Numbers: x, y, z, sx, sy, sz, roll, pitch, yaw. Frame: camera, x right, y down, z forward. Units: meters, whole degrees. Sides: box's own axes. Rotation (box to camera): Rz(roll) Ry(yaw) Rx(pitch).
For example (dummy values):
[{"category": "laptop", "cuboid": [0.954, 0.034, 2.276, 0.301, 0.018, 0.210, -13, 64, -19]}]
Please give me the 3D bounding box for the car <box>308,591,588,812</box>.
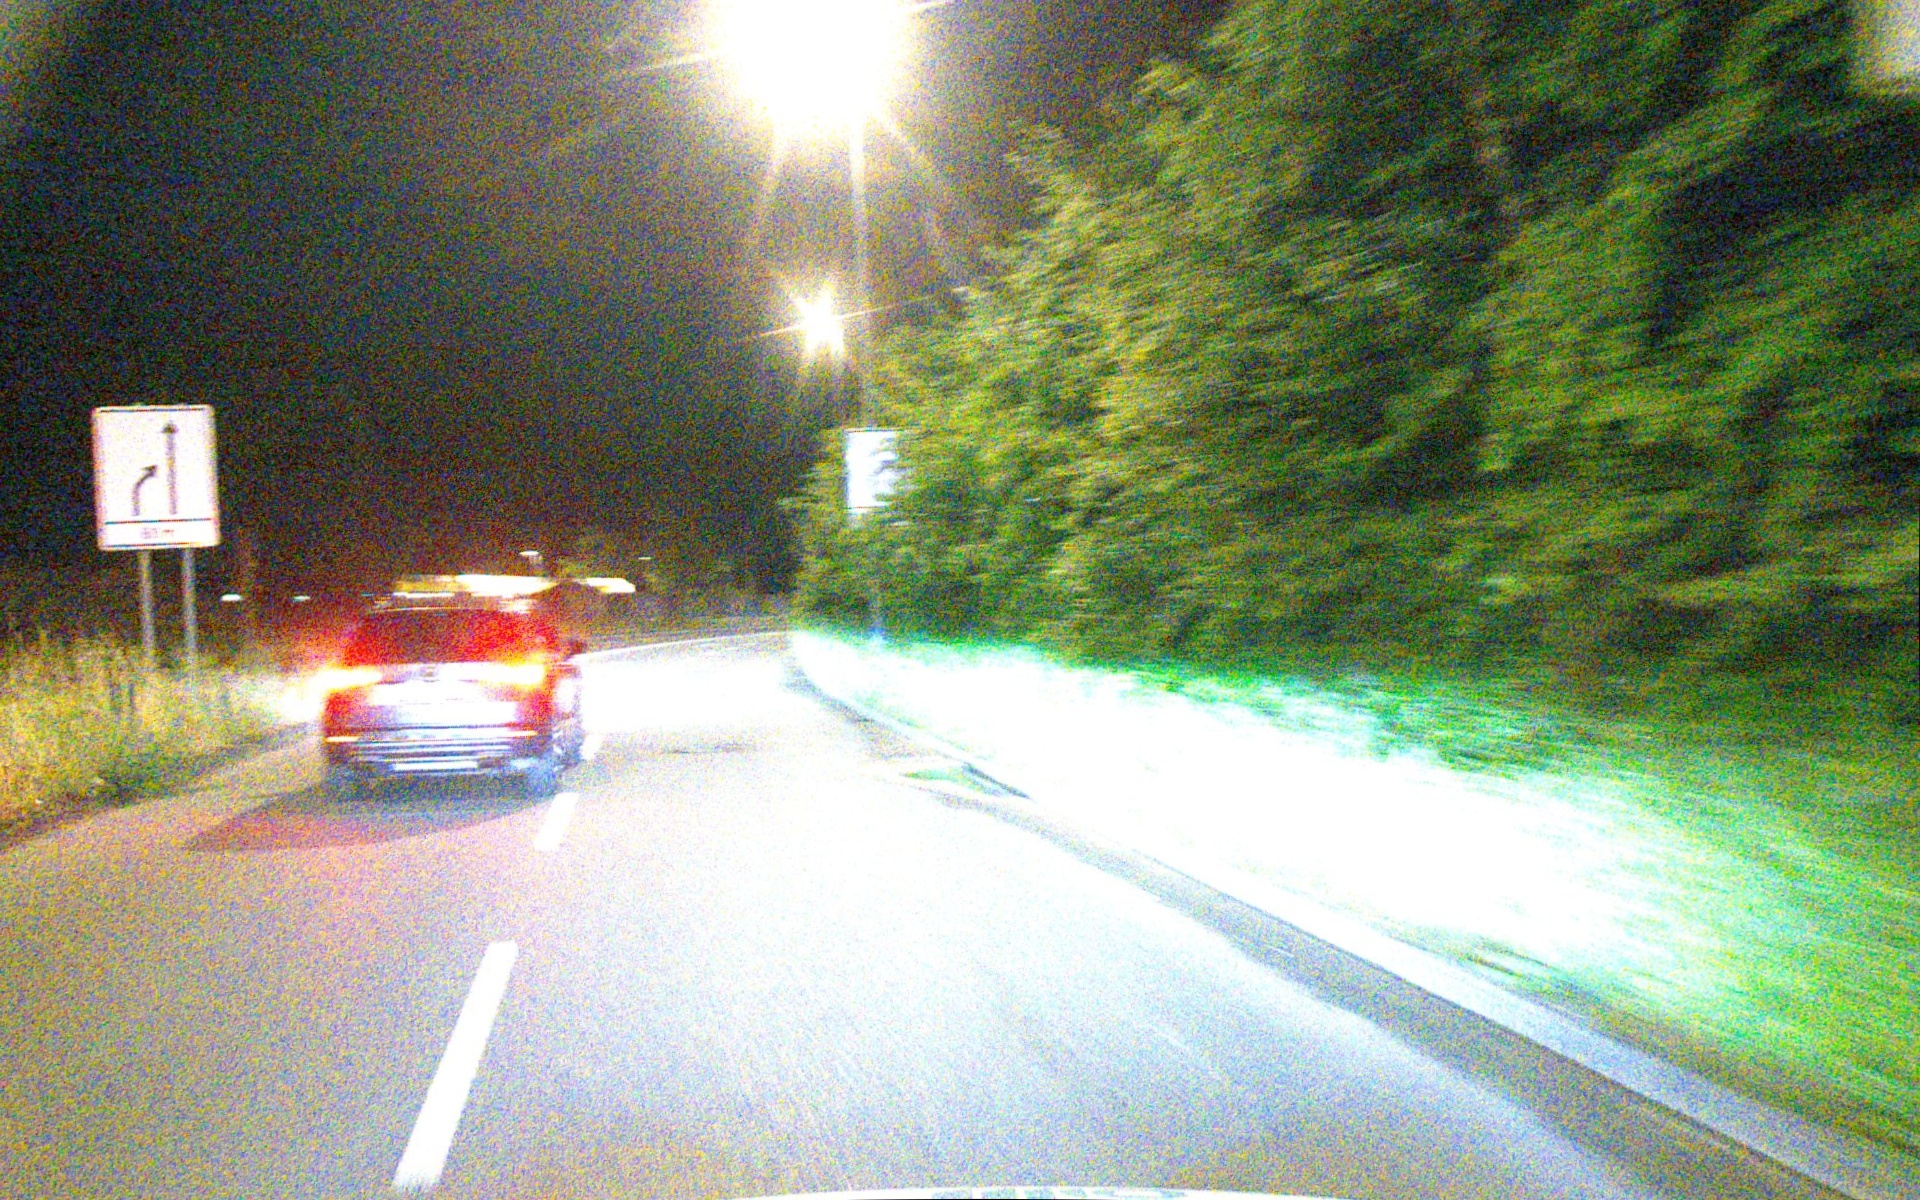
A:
[{"category": "car", "cuboid": [-4.228, 0.750, 14.239, 1.818, 1.610, 3.997, 0, 0, -10]}]
